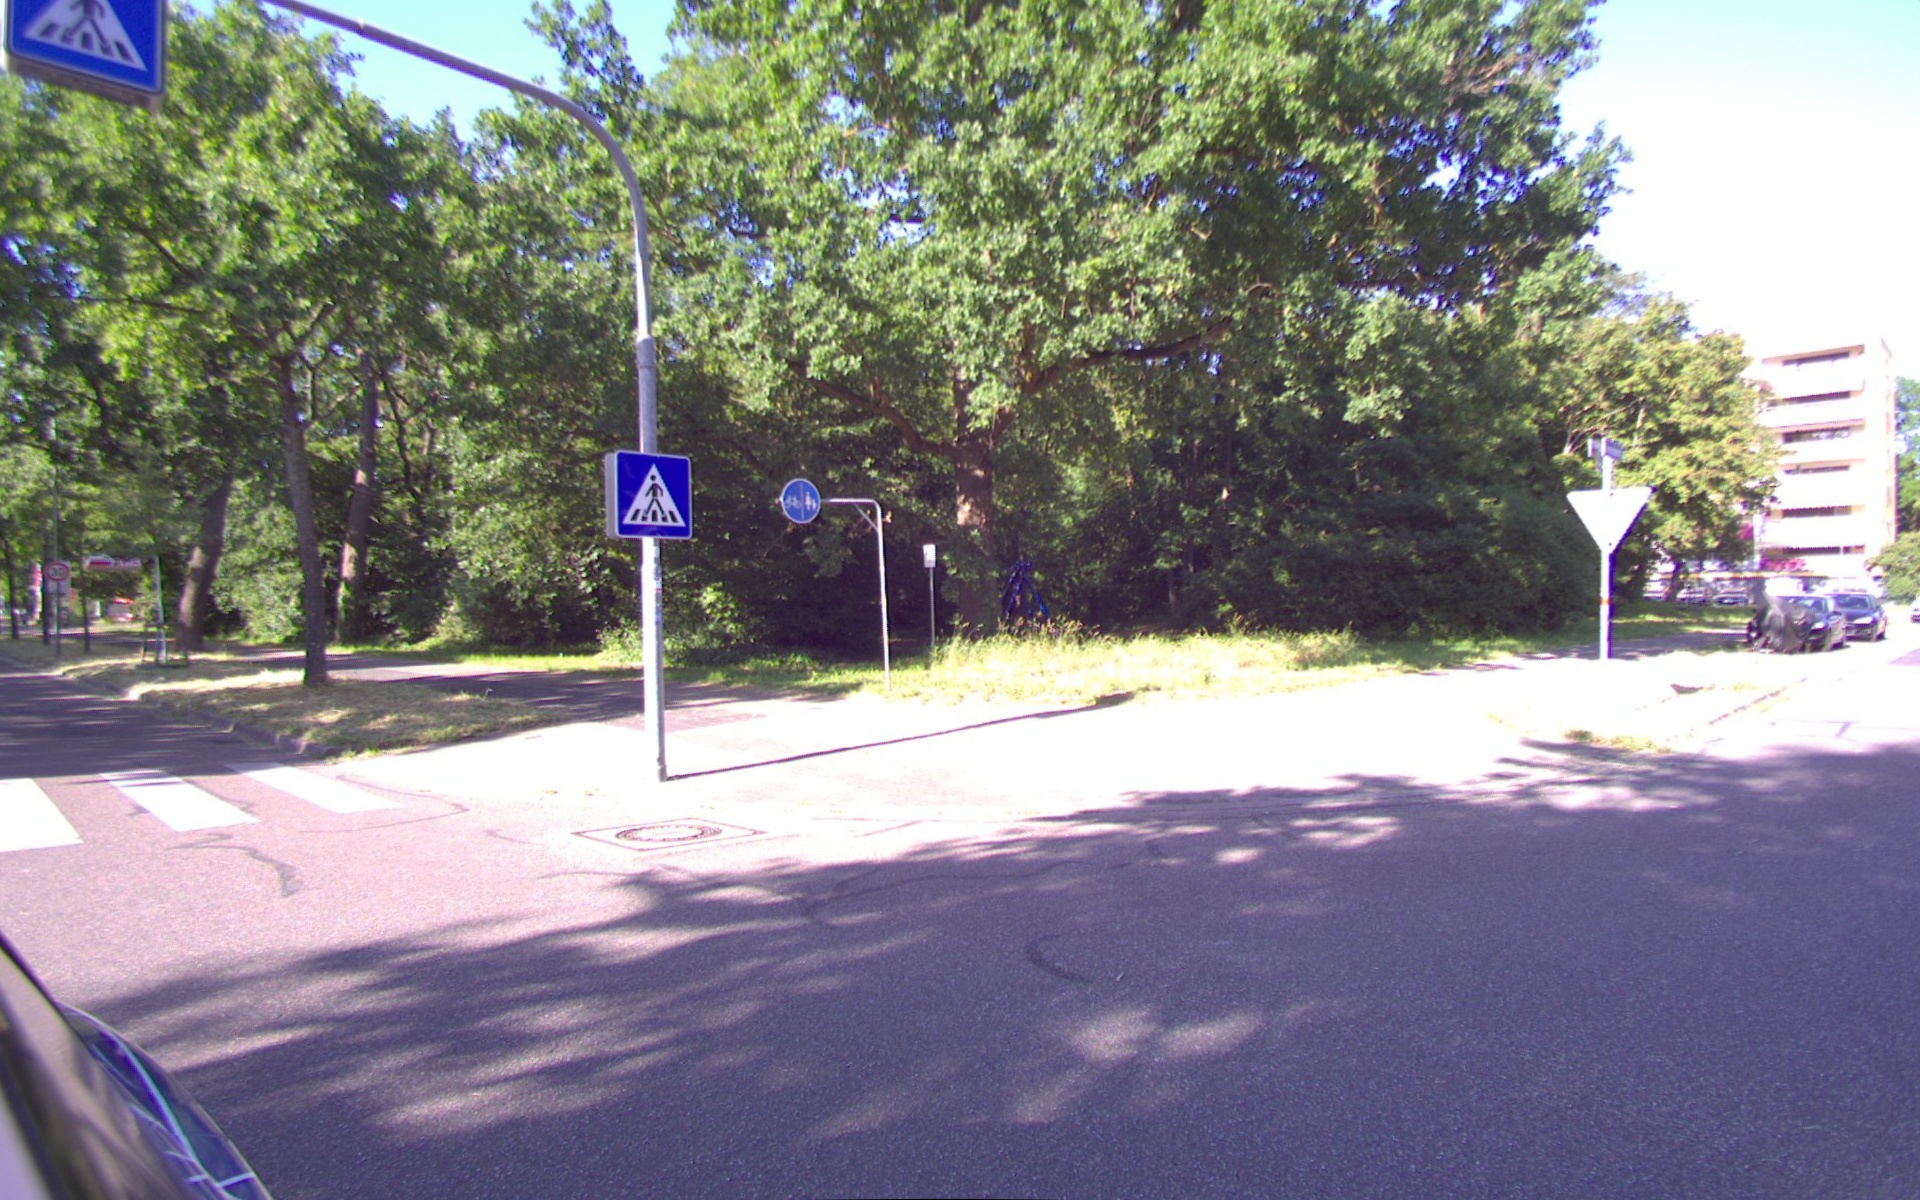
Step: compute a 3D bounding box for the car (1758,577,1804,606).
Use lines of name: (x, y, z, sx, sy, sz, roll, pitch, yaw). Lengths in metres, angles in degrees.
car: (51.674, -0.570, 63.702, 3.779, 1.757, 1.764, -1, 0, -44)

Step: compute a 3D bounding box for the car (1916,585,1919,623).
car: (41.456, 0.118, 42.519, 3.779, 1.569, 1.647, -1, 0, -44)

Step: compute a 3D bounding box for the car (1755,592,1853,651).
car: (22.010, 0.523, 26.357, 3.535, 1.402, 1.561, -1, 0, -44)

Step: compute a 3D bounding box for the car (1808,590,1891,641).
car: (26.701, 0.445, 30.358, 3.535, 1.402, 1.561, -1, 0, -44)

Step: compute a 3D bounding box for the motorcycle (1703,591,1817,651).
motorcycle: (18.687, 0.488, 23.673, 1.944, 1.354, 0.672, -1, 0, 16)

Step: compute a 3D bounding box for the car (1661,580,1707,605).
car: (48.188, -0.513, 67.334, 3.779, 1.538, 1.802, -1, 0, -44)

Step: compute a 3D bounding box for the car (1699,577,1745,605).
car: (49.853, -0.590, 66.195, 3.779, 1.757, 1.764, -1, 0, -44)
